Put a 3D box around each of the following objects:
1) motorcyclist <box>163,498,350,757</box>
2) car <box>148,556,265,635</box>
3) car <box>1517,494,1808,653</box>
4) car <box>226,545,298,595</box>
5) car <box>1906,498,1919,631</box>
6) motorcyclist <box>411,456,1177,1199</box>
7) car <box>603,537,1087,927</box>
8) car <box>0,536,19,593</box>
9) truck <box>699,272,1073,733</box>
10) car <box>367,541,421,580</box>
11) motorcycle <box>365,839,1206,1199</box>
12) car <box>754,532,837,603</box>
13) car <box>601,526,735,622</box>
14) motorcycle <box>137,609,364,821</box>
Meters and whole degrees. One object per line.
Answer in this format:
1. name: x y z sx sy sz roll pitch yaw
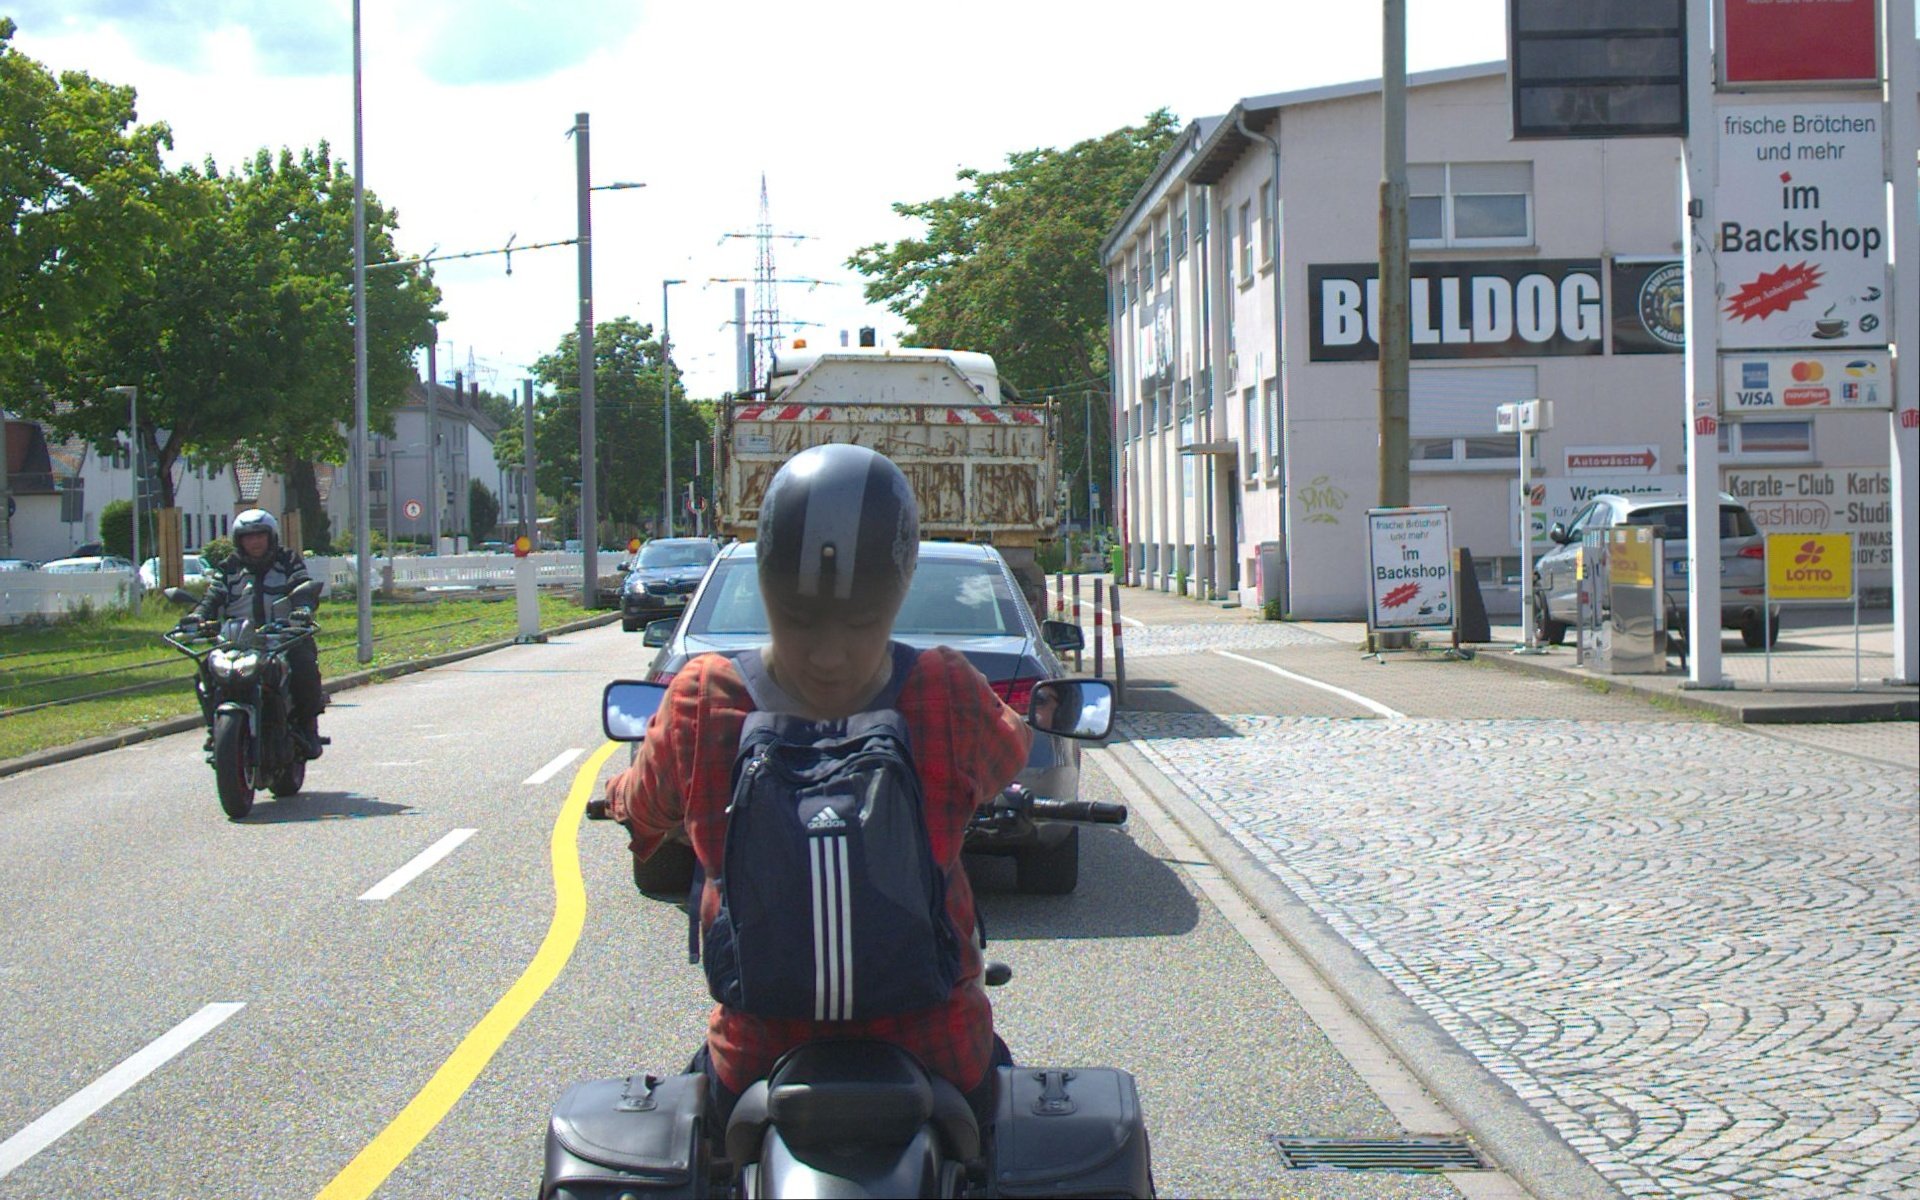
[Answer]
1. motorcyclist: -3.850 0.136 18.877 0.868 1.373 0.800 -1 1 -3
2. car: -17.492 -0.132 79.972 1.776 1.717 4.128 -1 1 0
3. car: 7.382 -0.309 36.532 1.667 1.557 4.245 -1 1 -8
4. car: -25.411 -1.098 125.254 1.776 1.717 4.128 -1 1 0
5. car: 11.737 -0.384 37.101 1.806 1.498 3.834 -1 1 -3
6. motorcyclist: -0.215 0.609 5.039 0.979 1.597 1.088 -1 1 -1
7. car: -0.461 0.468 15.116 1.823 1.447 4.000 1 1 -1
8. car: -30.038 -1.061 104.418 1.776 1.717 4.128 -1 1 0
9. truck: -0.581 -0.798 28.945 2.638 3.285 8.057 -1 1 -1
10. car: -26.426 -1.849 160.674 1.776 1.717 4.250 -1 1 0
11. motorcycle: -0.211 0.951 5.350 0.979 0.894 2.653 -1 1 -1
12. car: -3.974 -0.820 83.618 1.823 1.596 4.324 -2 1 -1
13. car: -4.758 -0.455 56.464 1.823 1.447 4.324 -2 1 -1
14. motorcycle: -3.844 0.595 18.815 0.868 1.017 2.245 -1 1 -3
